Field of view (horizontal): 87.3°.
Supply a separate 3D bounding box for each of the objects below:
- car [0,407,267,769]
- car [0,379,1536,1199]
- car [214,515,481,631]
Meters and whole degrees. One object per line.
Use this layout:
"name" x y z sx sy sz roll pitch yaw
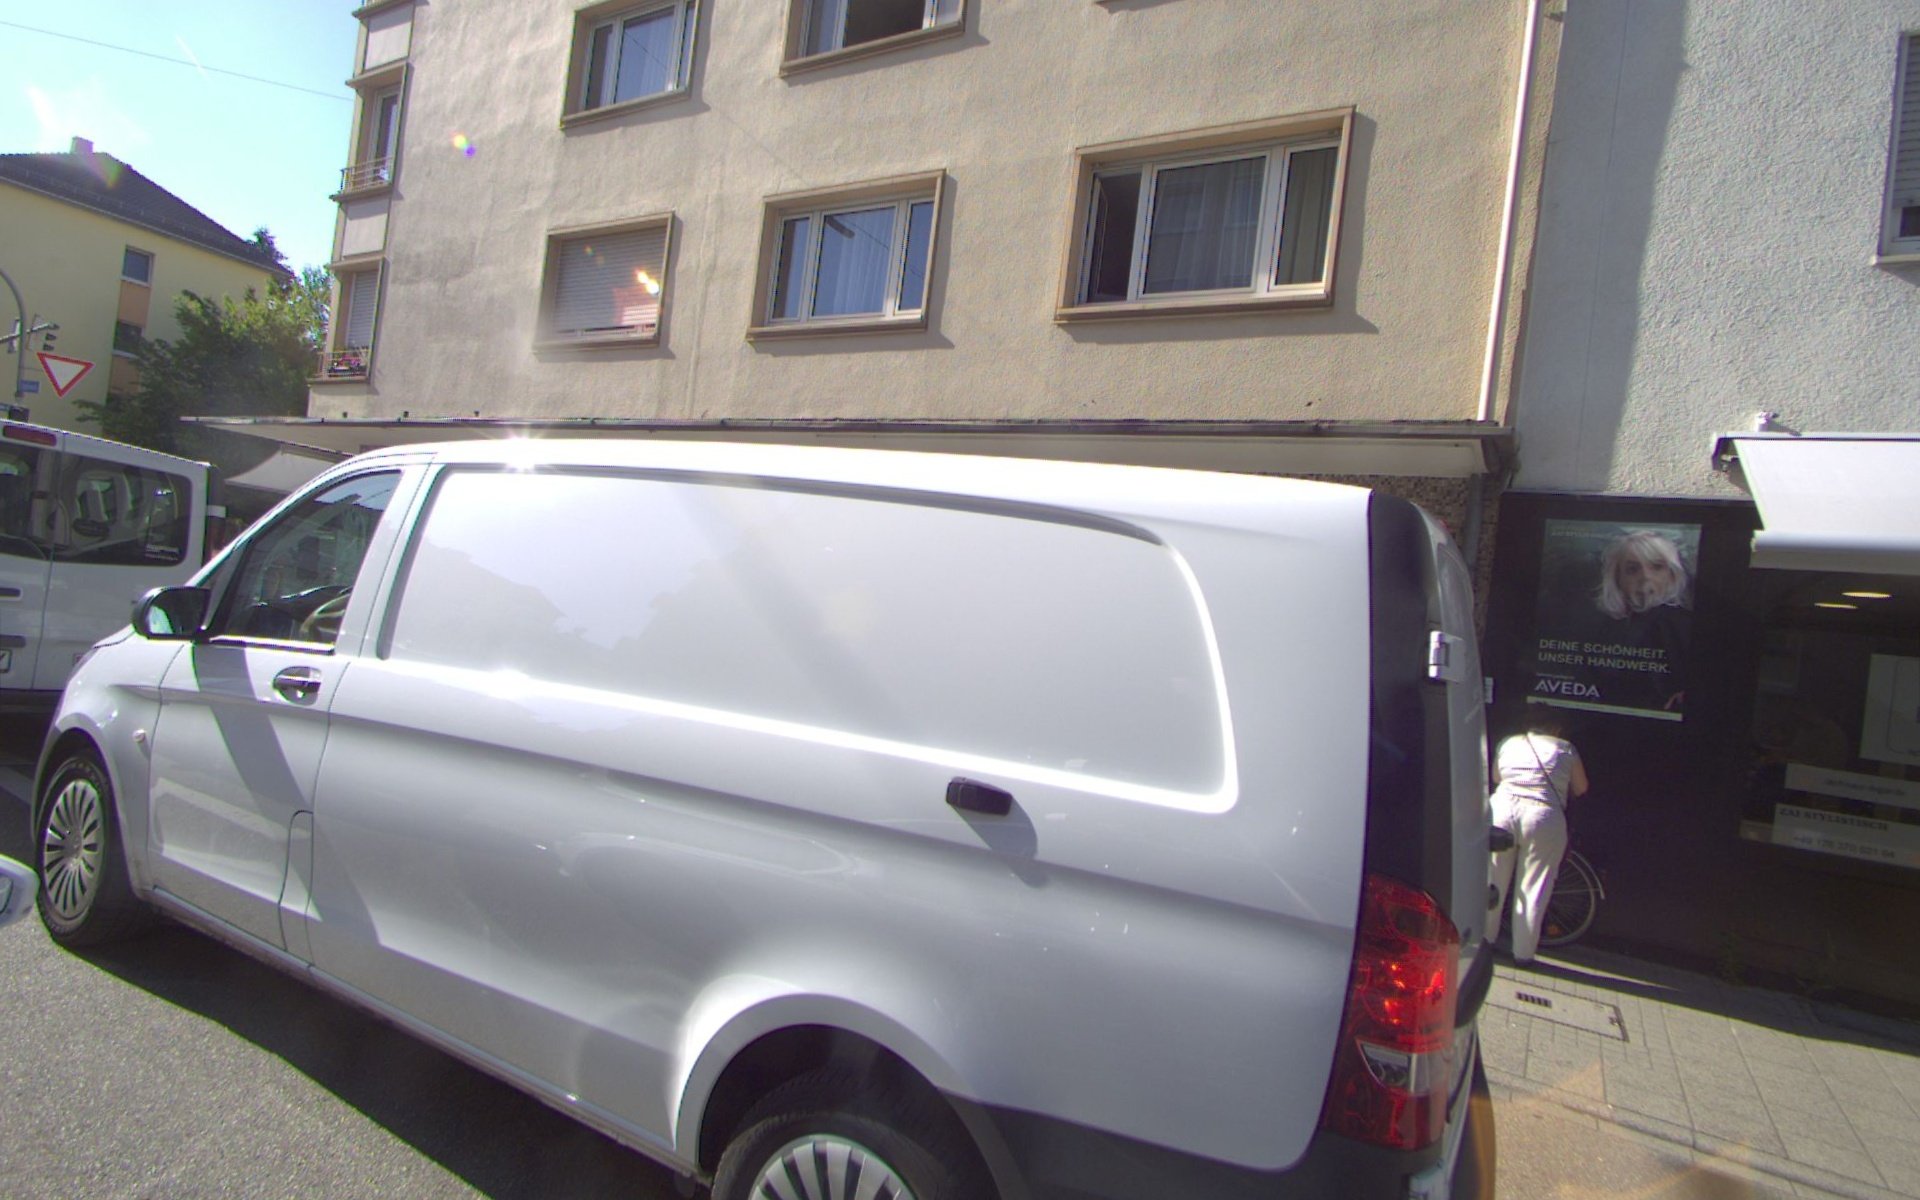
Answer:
"car" -7.218 -0.258 6.969 4.972 1.962 1.973 6 -2 32
"car" -0.934 0.496 3.319 4.751 1.832 1.972 6 -1 31
"car" -11.885 -0.465 19.788 1.795 1.682 3.993 7 -1 32
